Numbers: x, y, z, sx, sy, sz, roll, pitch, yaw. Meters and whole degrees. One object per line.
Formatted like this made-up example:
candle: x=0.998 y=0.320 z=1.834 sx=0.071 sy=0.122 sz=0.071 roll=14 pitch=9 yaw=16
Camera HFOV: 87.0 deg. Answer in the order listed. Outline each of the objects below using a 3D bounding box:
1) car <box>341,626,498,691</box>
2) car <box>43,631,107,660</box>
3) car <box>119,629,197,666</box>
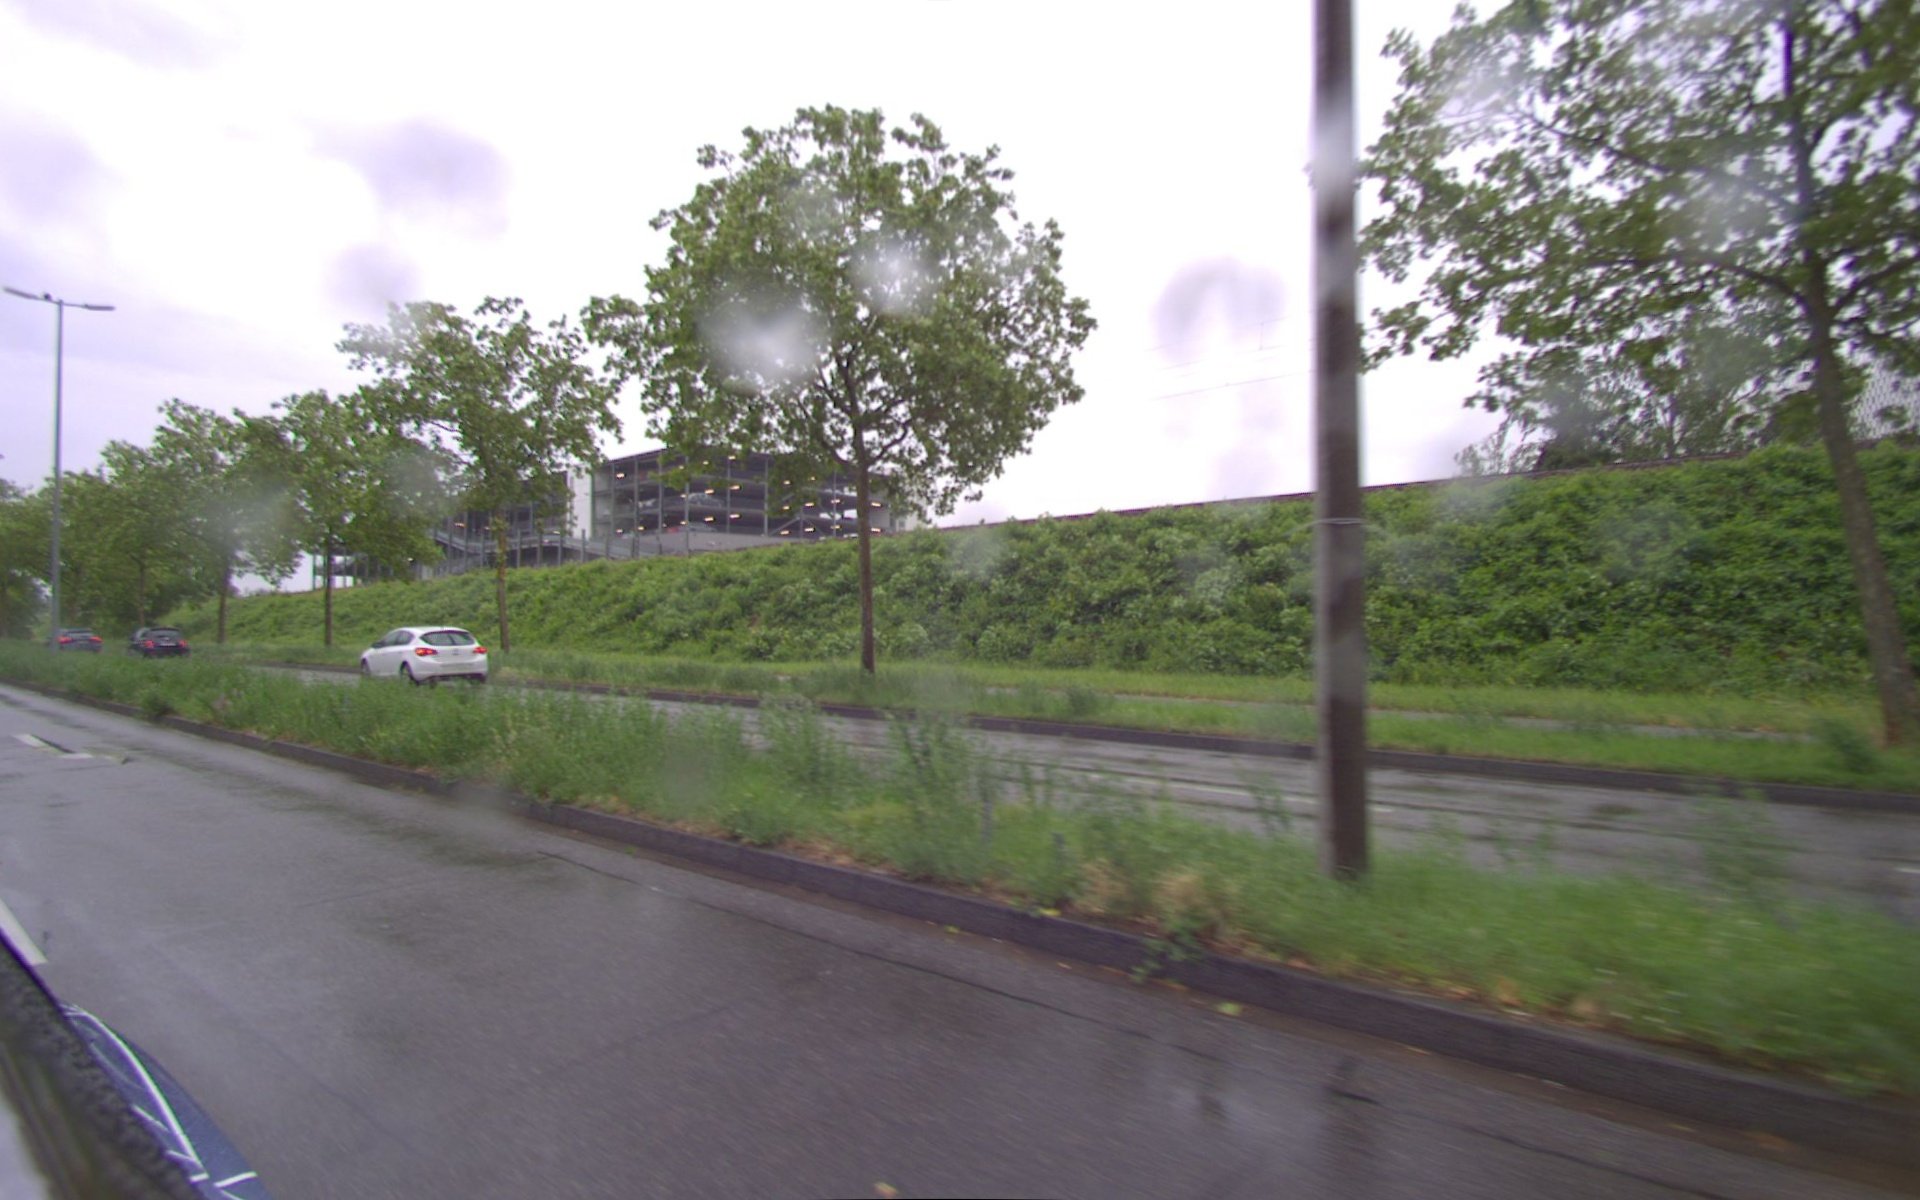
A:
car: x=-13.477 y=1.394 z=25.104 sx=4.654 sy=1.456 sz=1.911 roll=-2 pitch=-2 yaw=41
car: x=-46.300 y=2.350 z=52.914 sx=4.493 sy=1.456 sz=1.911 roll=-2 pitch=-2 yaw=41
car: x=-33.659 y=1.951 z=42.440 sx=3.705 sy=1.456 sz=1.911 roll=-2 pitch=-2 yaw=41
